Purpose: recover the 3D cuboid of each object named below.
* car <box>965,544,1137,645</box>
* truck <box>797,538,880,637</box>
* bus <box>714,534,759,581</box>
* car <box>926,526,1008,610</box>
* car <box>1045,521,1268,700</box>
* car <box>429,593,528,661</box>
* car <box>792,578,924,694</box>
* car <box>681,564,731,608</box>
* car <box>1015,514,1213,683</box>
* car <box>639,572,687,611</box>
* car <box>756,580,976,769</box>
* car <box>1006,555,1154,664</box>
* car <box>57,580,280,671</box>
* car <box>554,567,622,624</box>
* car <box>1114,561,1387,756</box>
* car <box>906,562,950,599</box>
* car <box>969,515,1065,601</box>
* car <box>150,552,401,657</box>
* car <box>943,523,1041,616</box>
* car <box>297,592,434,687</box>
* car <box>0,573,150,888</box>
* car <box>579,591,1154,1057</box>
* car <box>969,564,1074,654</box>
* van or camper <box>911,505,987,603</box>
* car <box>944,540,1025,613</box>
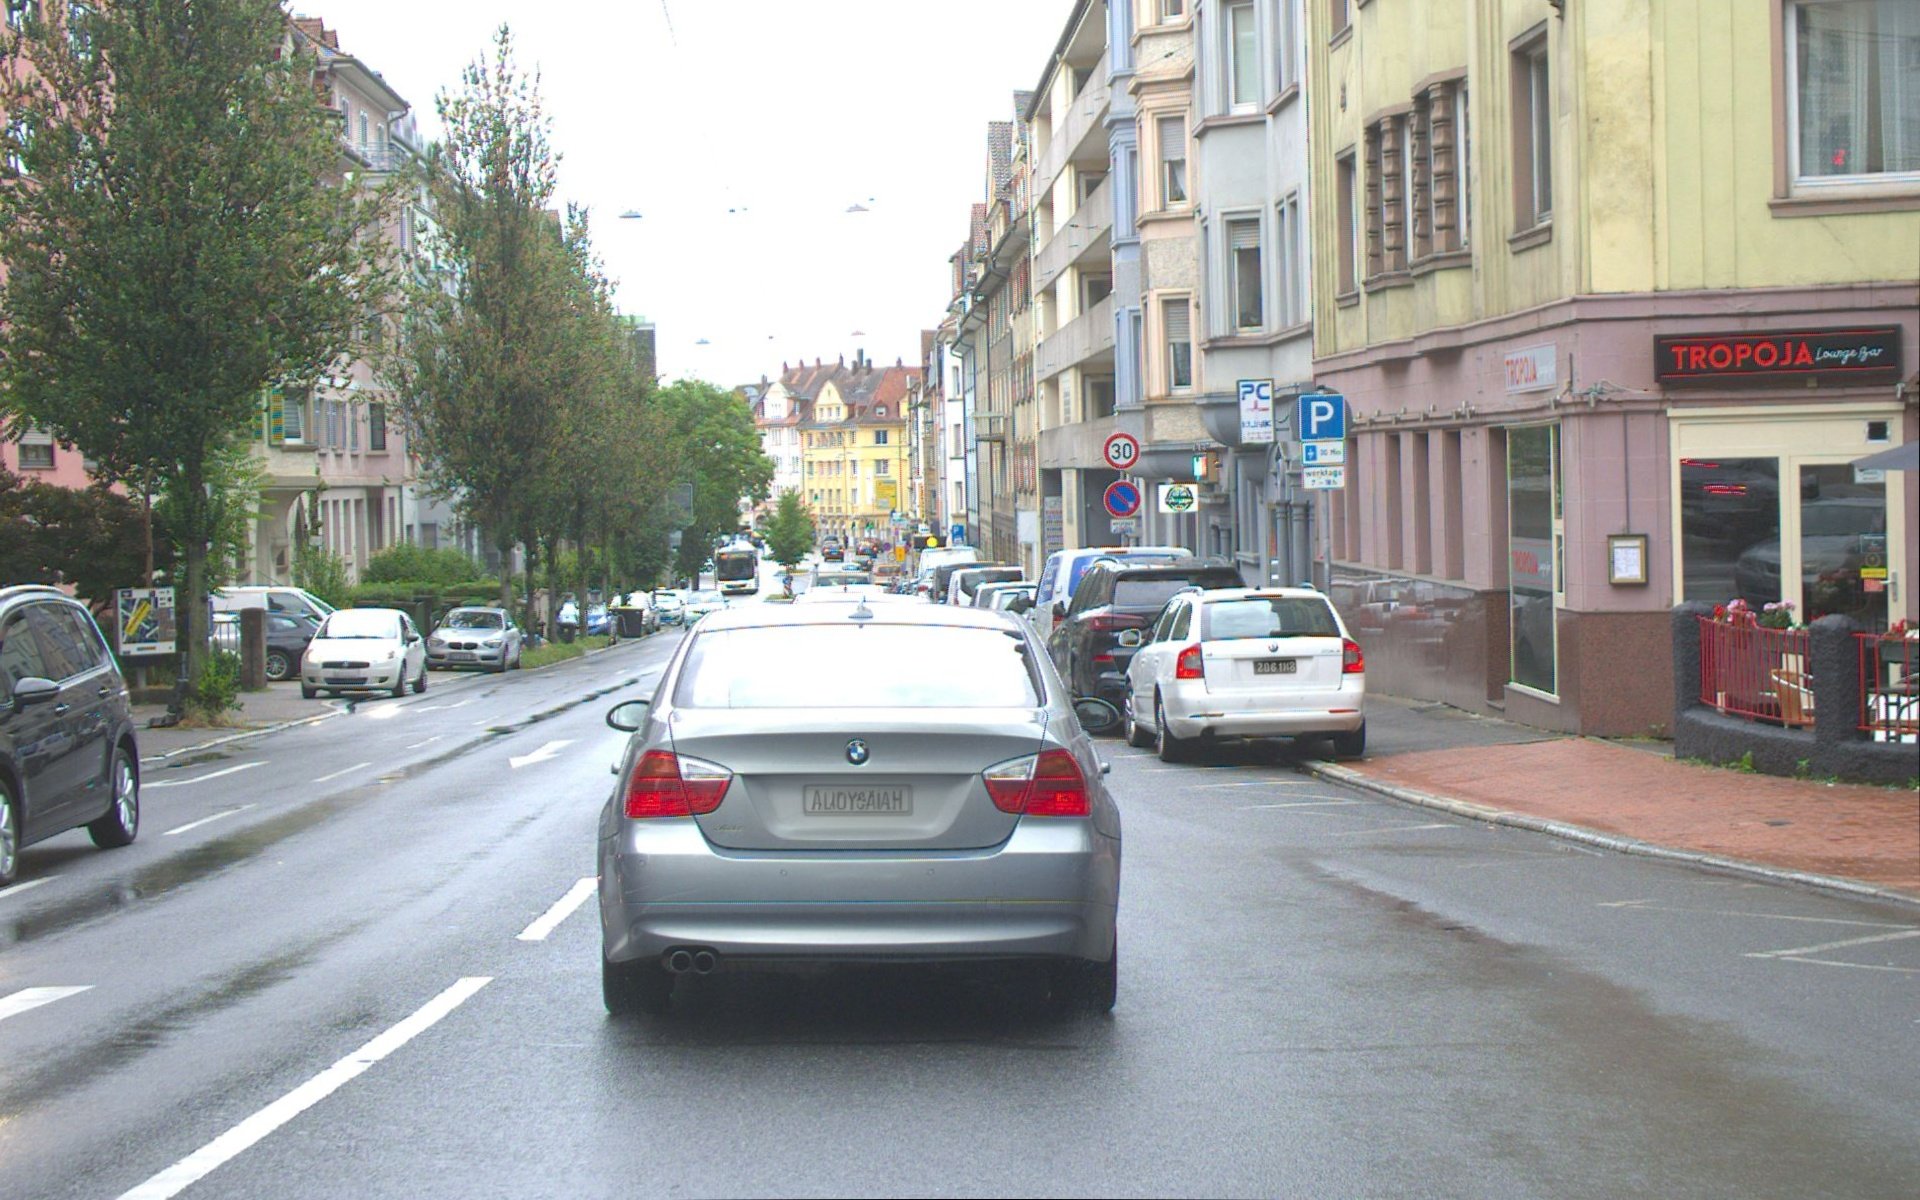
[{"bbox_3d":[1.350,-0.102,52.979,1.875,1.462,4.776,-1,1,-8],"label":"car"},{"bbox_3d":[-3.083,-0.320,86.772,2.031,2.404,4.827,0,0,-3],"label":"truck"},{"bbox_3d":[-15.271,-2.912,235.459,2.668,3.014,7.671,-3,1,-2],"label":"bus"},{"bbox_3d":[0.167,-0.898,94.668,1.982,2.158,4.750,-3,1,-2],"label":"car"},{"bbox_3d":[1.957,0.065,35.546,1.878,1.725,4.677,0,1,-2],"label":"car"},{"bbox_3d":[-10.852,0.597,77.711,1.726,1.478,3.989,0,0,-1],"label":"car"},{"bbox_3d":[-1.367,0.454,46.443,1.697,1.478,3.794,0,0,-2],"label":"car"},{"bbox_3d":[-9.743,-0.539,131.858,1.636,1.503,3.755,-5,1,-2],"label":"car"},{"bbox_3d":[1.787,-0.058,41.550,1.919,1.821,5.010,-3,1,-2],"label":"car"},{"bbox_3d":[-12.806,-0.396,148.467,1.690,1.518,3.737,-4,1,-1],"label":"car"},{"bbox_3d":[-0.746,0.565,28.327,1.681,1.423,3.741,0,1,-1],"label":"car"},{"bbox_3d":[1.567,0.097,46.278,1.677,1.370,4.276,-1,1,-2],"label":"car"},{"bbox_3d":[-14.734,0.465,64.171,3.880,1.452,1.792,-3,1,-9],"label":"car"},{"bbox_3d":[-11.473,-0.162,106.184,1.766,1.588,4.001,-4,1,-3],"label":"car"},{"bbox_3d":[2.462,0.451,30.201,1.798,1.559,4.493,0,1,-3],"label":"car"},{"bbox_3d":[-1.355,-0.809,142.954,1.697,1.478,3.976,0,0,-3],"label":"car"},{"bbox_3d":[1.175,-0.899,73.177,1.726,1.664,4.289,-4,1,-2],"label":"car"},{"bbox_3d":[-14.382,0.079,72.423,4.828,1.967,2.048,-3,1,-2],"label":"car"},{"bbox_3d":[0.711,-0.717,79.969,1.982,2.000,4.625,-3,1,-2],"label":"car"},{"bbox_3d":[-9.998,0.638,58.040,1.621,1.441,4.005,-2,1,-1],"label":"car"},{"bbox_3d":[-5.968,0.750,19.544,1.621,1.643,4.420,-5,1,-1],"label":"car"},{"bbox_3d":[-0.400,0.697,12.499,1.769,1.423,3.741,0,0,-4],"label":"car"},{"bbox_3d":[1.038,0.136,59.789,1.611,1.469,4.016,-1,1,-2],"label":"car"},{"bbox_3d":[-0.298,-1.434,105.093,2.033,2.859,6.885,1,1,2],"label":"van or camper"},{"bbox_3d":[0.581,-0.602,84.896,1.726,1.664,4.289,-3,1,-2],"label":"car"}]
